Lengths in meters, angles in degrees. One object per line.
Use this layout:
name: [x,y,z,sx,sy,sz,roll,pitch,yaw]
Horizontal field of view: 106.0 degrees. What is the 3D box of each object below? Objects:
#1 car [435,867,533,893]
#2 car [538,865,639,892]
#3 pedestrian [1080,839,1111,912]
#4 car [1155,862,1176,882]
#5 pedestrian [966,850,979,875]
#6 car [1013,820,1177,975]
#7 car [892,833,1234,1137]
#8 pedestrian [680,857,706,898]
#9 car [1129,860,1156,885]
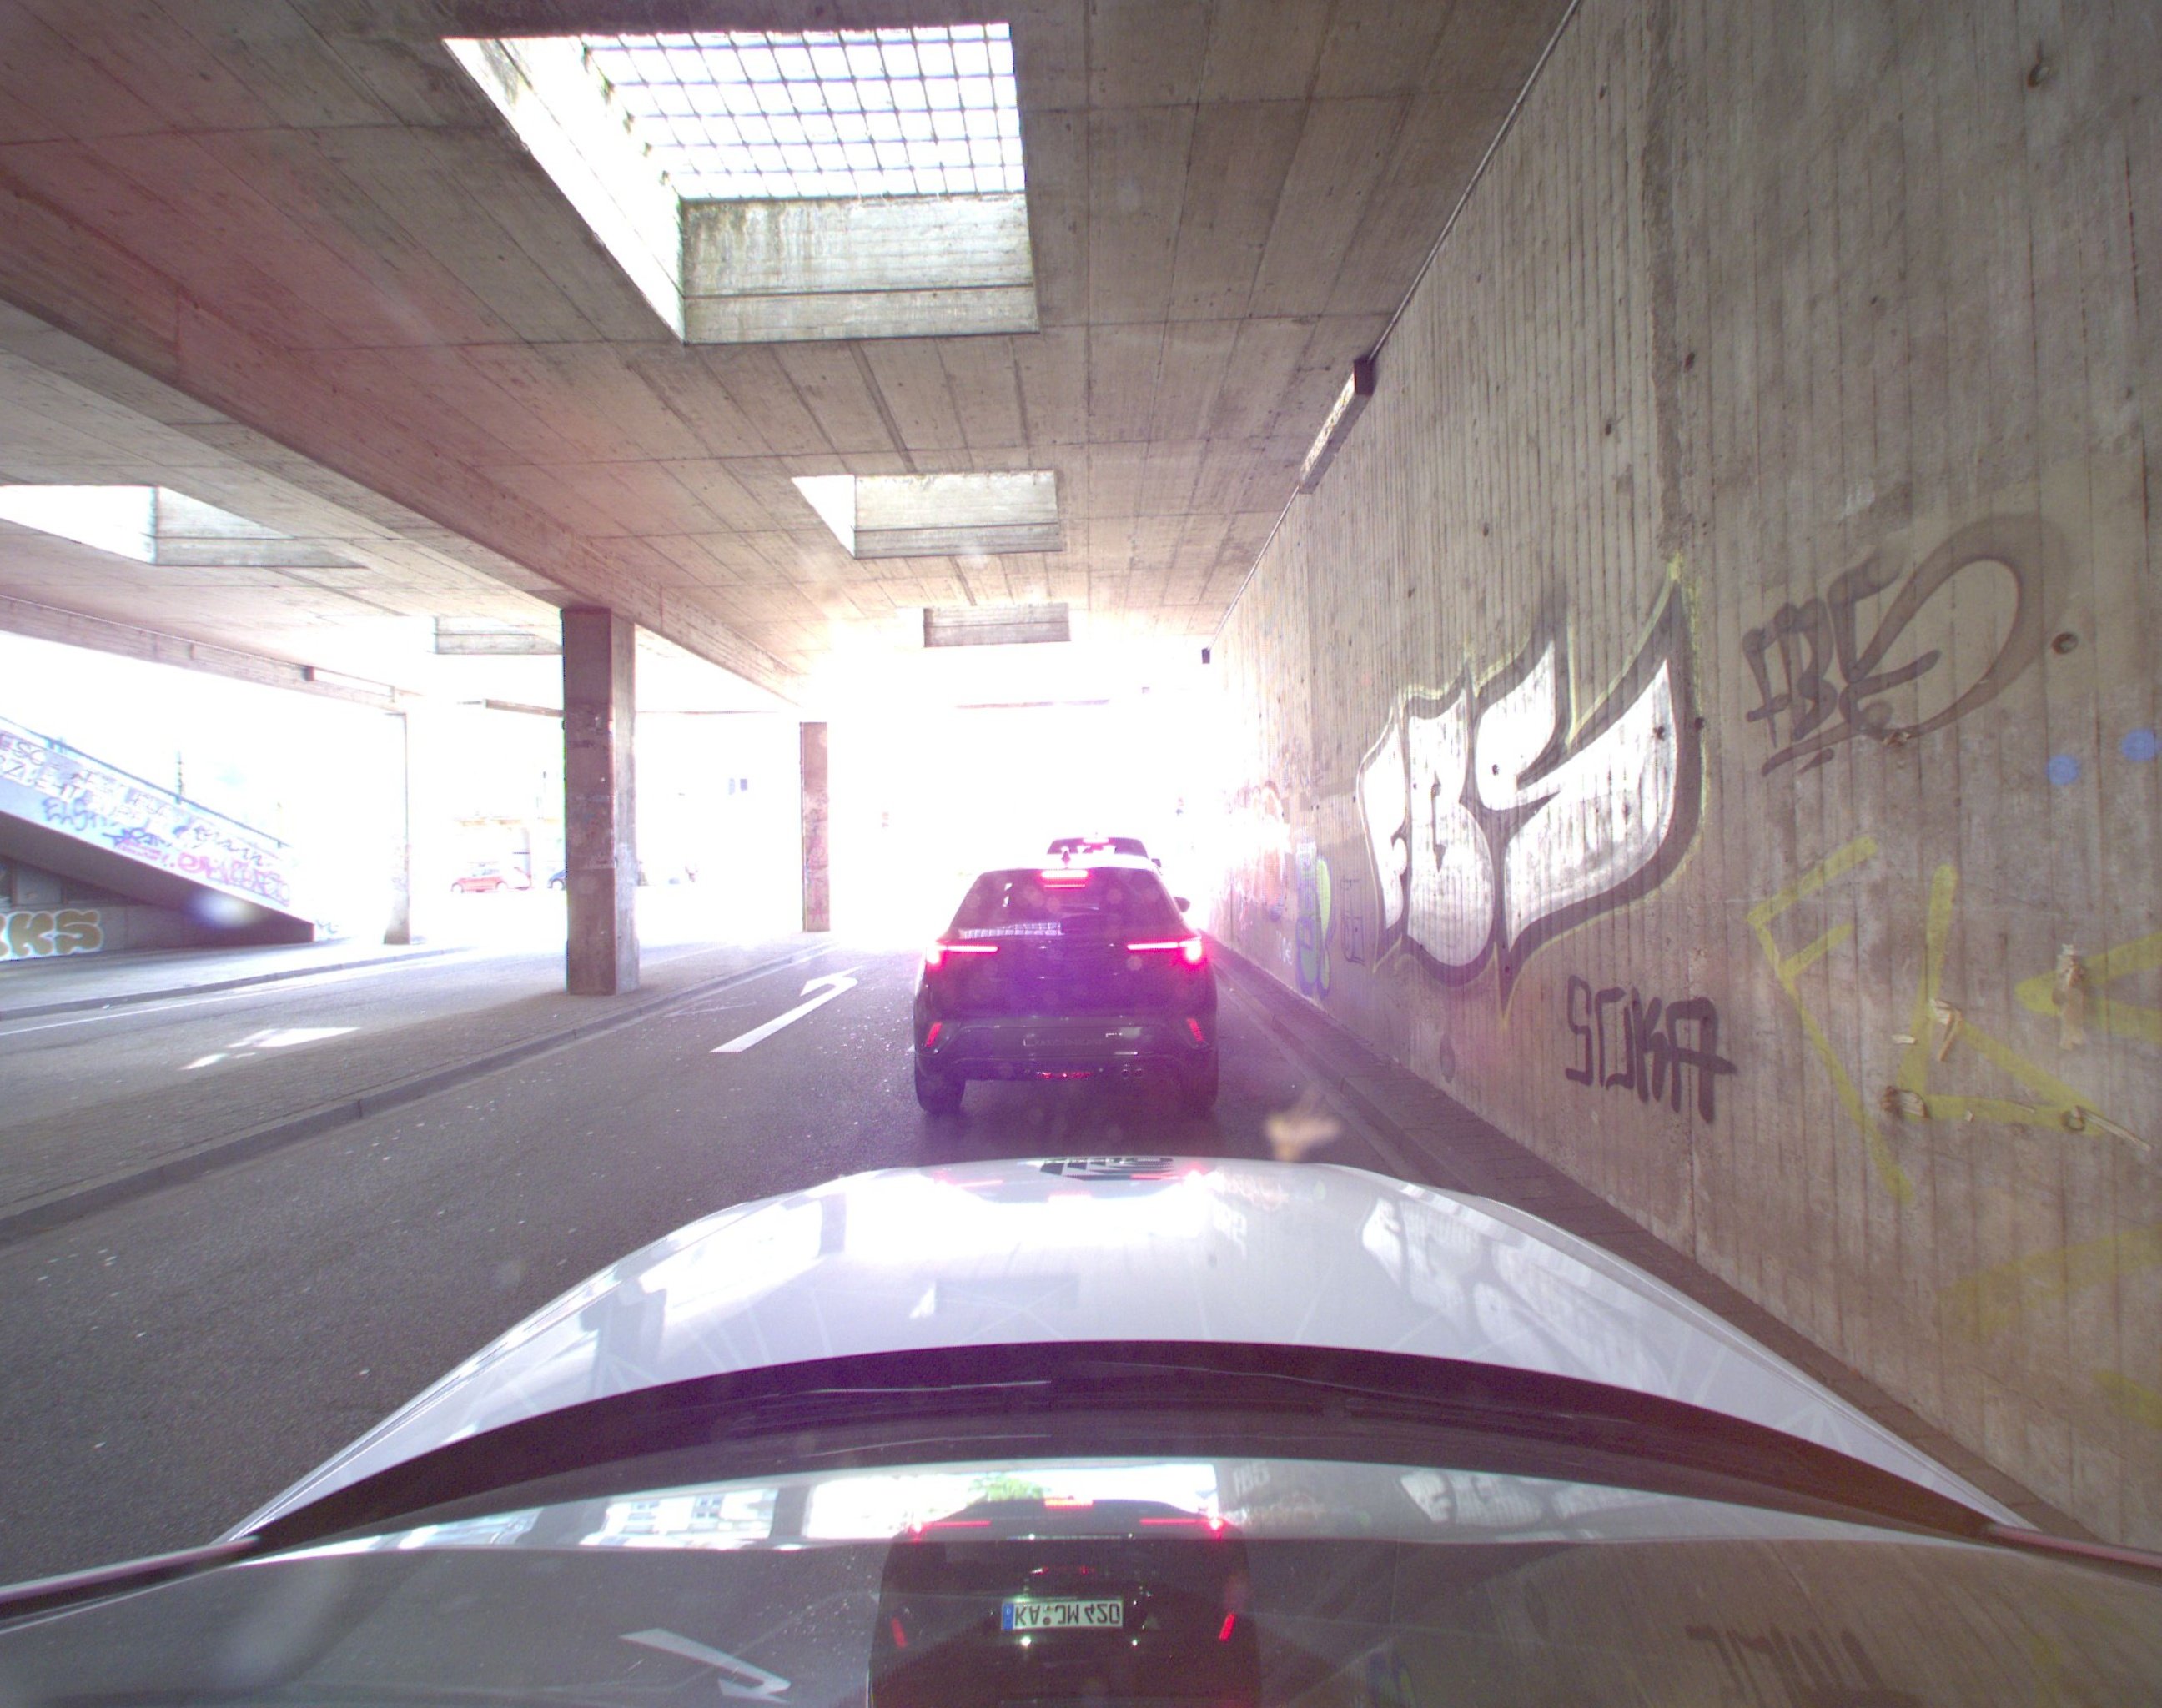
car: [-33.064,1.428,45.198,3.975,1.409,1.925,0,-1,-1]
car: [-27.292,1.364,45.215,4.393,1.409,1.925,0,-1,-1]
pedestrian: [0.359,0.512,19.924,0.728,1.734,0.874,0,-1,1]
car: [8.360,1.748,80.331,1.983,1.970,4.172,0,-1,7]
pedestrian: [-9.009,0.699,67.746,0.887,2.088,0.810,-1,-1,9]
car: [0.241,0.536,12.099,1.986,1.871,4.002,-2,0,2]
car: [-0.030,0.645,6.224,1.758,1.571,4.002,0,1,2]
pedestrian: [-15.529,0.925,32.618,0.669,1.637,0.741,0,-1,1]
car: [5.104,1.474,67.180,1.983,1.970,4.172,0,-1,7]
